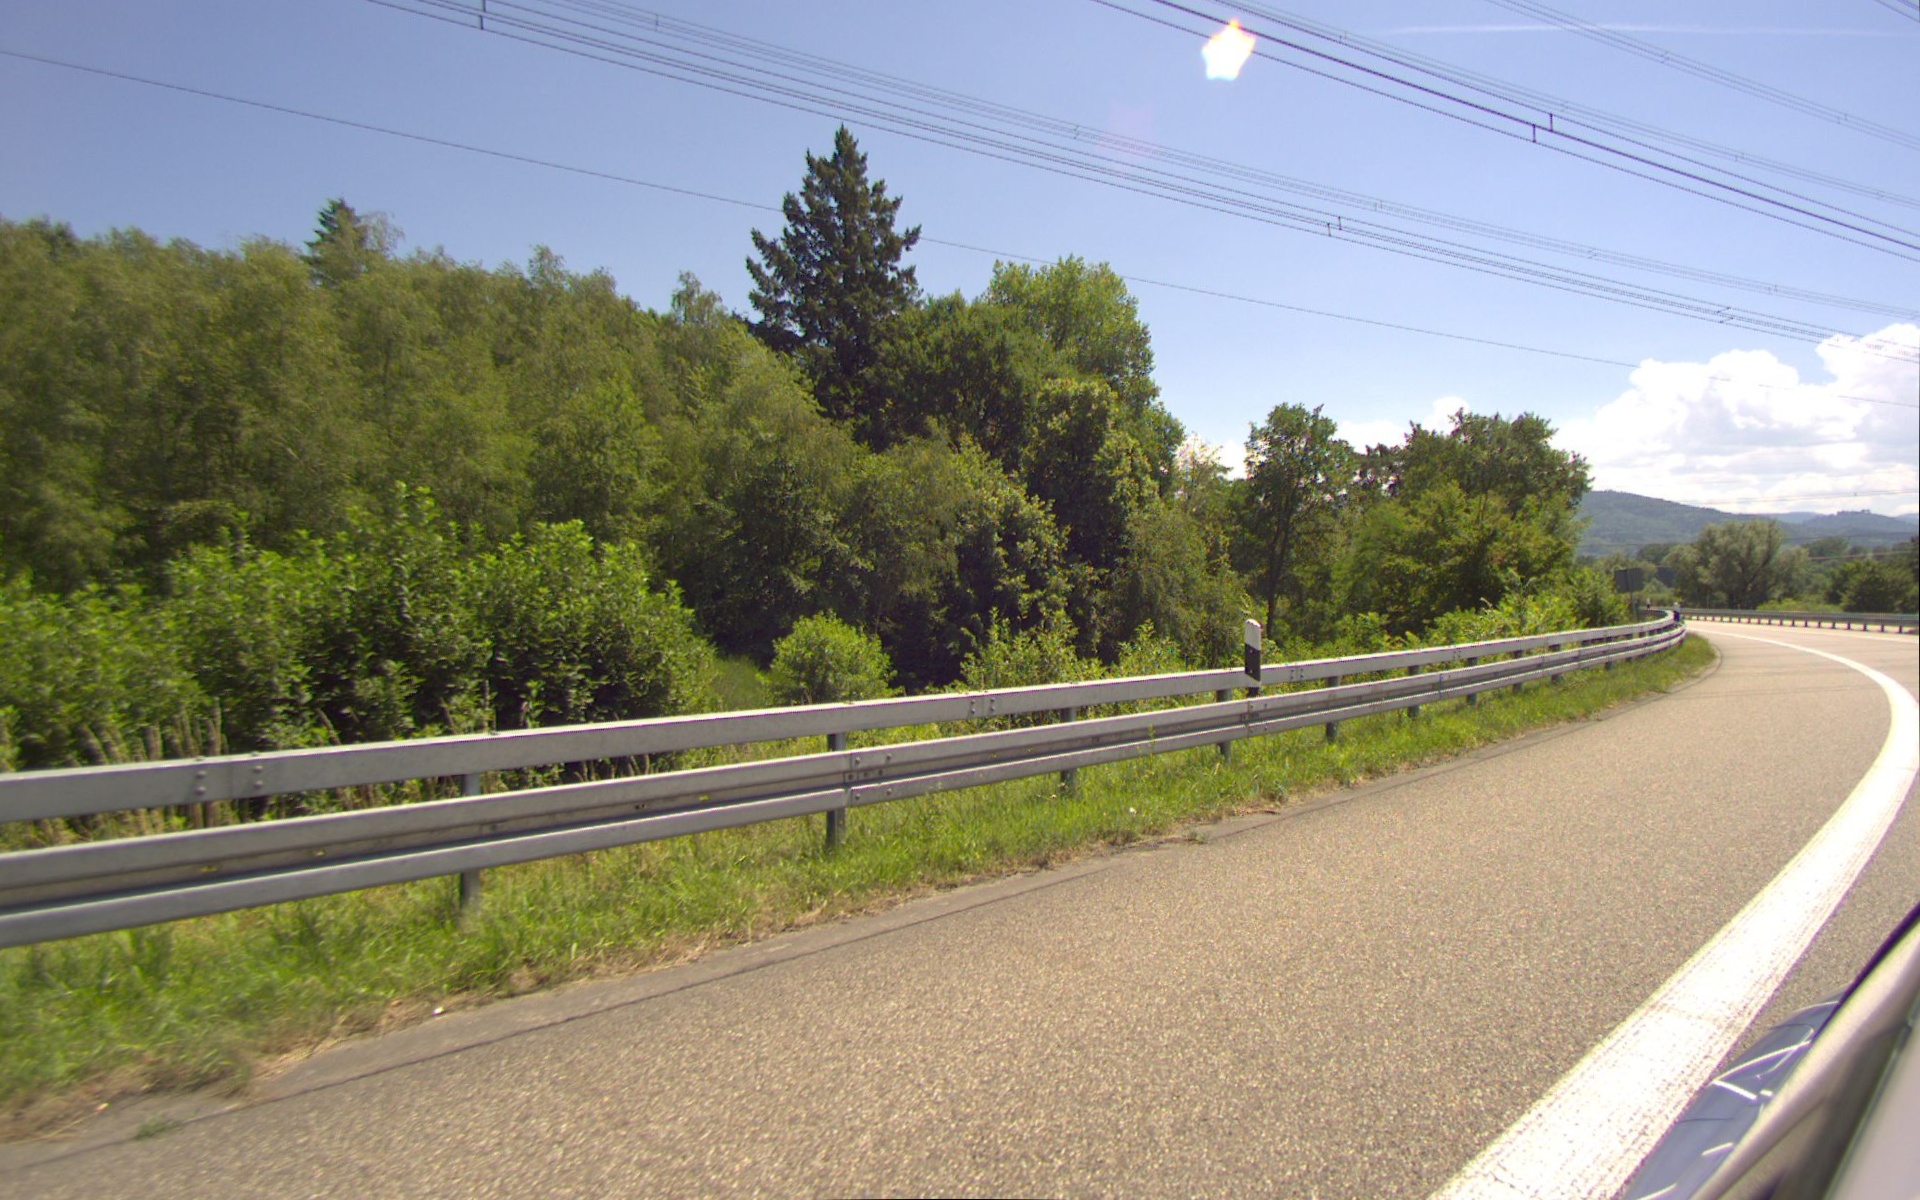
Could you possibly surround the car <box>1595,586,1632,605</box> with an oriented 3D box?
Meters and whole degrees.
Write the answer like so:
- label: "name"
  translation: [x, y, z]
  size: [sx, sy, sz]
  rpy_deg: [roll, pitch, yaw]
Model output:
- label: "car"
  translation: [98.296, -0.654, 152.340]
  size: [2.498, 2.650, 7.150]
  rpy_deg: [3, 2, 16]
